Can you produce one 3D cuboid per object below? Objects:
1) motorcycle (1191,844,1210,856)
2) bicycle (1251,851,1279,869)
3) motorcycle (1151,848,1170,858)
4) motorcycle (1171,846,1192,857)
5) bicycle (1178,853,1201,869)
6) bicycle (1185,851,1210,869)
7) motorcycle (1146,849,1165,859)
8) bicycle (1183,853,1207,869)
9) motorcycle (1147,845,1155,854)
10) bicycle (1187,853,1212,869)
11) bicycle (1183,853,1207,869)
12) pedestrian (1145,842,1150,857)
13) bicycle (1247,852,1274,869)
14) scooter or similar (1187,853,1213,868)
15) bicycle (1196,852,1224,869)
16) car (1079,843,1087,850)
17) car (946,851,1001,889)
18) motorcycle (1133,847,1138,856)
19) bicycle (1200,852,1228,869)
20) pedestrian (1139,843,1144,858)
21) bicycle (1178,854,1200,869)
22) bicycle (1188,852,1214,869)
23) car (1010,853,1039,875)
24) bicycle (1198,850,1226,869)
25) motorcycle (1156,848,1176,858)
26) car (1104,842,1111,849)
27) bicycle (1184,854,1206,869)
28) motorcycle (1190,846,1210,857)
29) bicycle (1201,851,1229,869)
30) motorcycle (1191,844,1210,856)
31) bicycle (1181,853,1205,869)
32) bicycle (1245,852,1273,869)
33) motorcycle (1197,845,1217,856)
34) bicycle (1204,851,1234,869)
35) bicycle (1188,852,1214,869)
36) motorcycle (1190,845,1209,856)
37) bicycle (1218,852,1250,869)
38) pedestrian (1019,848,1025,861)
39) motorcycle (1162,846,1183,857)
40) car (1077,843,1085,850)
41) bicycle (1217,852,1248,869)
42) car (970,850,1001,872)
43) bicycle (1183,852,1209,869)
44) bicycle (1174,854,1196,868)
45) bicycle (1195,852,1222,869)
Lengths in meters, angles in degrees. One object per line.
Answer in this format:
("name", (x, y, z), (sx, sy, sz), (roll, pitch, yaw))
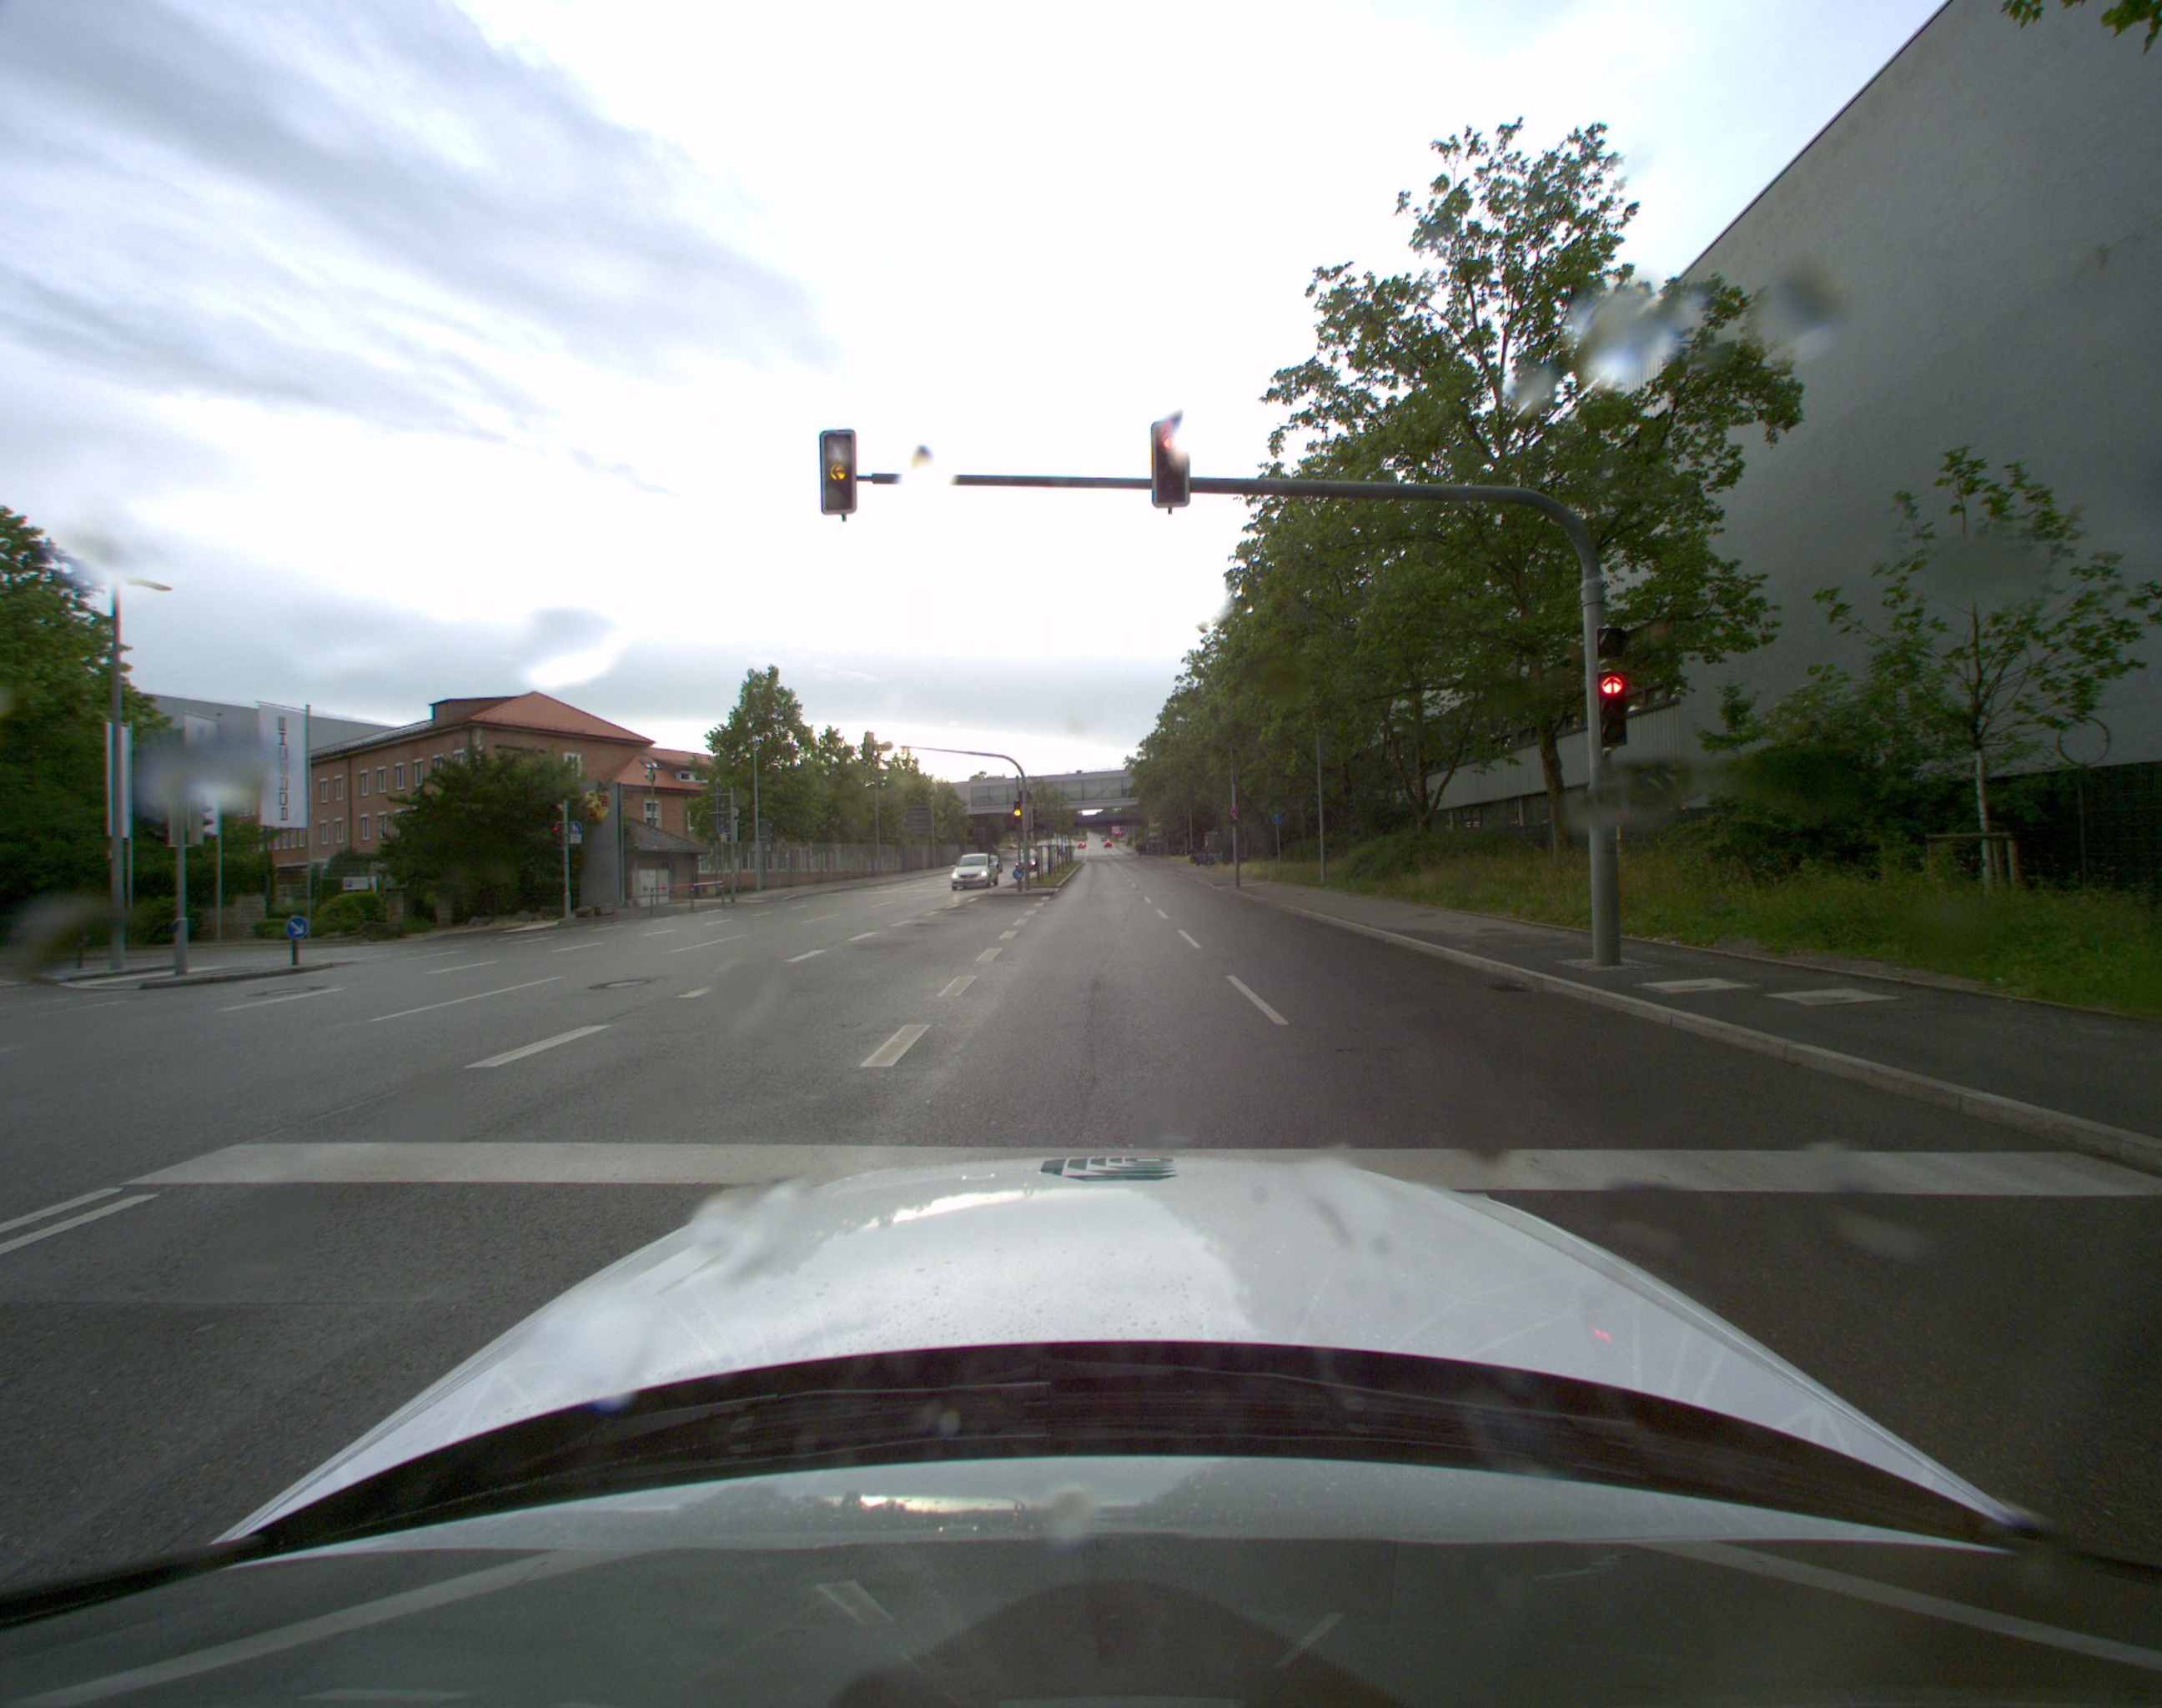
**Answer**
("motorcycle", (15.716, -0.483, 106.870), (2.354, 1.476, 0.724), (-3, 0, 9))
("bicycle", (13.487, 0.457, 59.685), (1.982, 1.328, 0.576), (0, -1, 2))
("motorcycle", (10.521, -0.092, 107.989), (2.354, 1.202, 0.795), (-3, 0, 9))
("motorcycle", (11.979, -0.276, 96.710), (2.354, 1.202, 0.724), (-3, 0, 9))
("bicycle", (9.698, 0.624, 72.587), (1.955, 1.328, 0.654), (0, -1, 2))
("bicycle", (9.623, 0.490, 67.493), (1.982, 1.430, 0.723), (0, -1, 2))
("motorcycle", (9.725, -0.046, 105.776), (2.354, 1.202, 0.724), (-3, 0, 9))
("bicycle", (9.828, 0.588, 70.291), (1.953, 1.328, 0.576), (0, -1, 2))
("motorcycle", (10.479, -0.634, 121.866), (0.789, 1.311, 2.371), (-3, 0, -7))
("bicycle", (9.951, 0.557, 68.339), (1.982, 1.328, 0.576), (0, -1, 2))
("bicycle", (9.648, 0.579, 69.057), (1.982, 1.328, 0.576), (0, -1, 2))
("pedestrian", (9.047, -0.551, 110.813), (0.619, 2.013, 0.606), (-3, 0, 2))
("bicycle", (13.748, 0.503, 62.438), (1.982, 1.328, 0.576), (0, -1, 2))
("scooter or similar", (9.296, 0.493, 63.751), (1.982, 1.138, 0.541), (0, -1, 2))
("bicycle", (9.618, 0.477, 60.773), (1.982, 1.242, 0.541), (0, -1, 2))
("car", (0.520, -1.997, 211.639), (1.877, 1.762, 3.970), (0, -1, 2))
("car", (-5.006, 0.695, 38.397), (1.870, 1.624, 3.780), (-2, 0, 2))
("motorcycle", (9.654, -0.509, 144.384), (0.787, 1.533, 2.376), (-3, 0, 0))
("bicycle", (9.672, 0.452, 59.213), (1.982, 1.242, 0.541), (0, -1, 2))
("pedestrian", (8.250, -0.425, 110.956), (0.619, 2.013, 0.606), (-3, 0, 2))
("bicycle", (9.882, 0.653, 74.302), (1.955, 1.328, 0.654), (0, -1, 2))
("bicycle", (9.293, 0.512, 63.105), (1.982, 1.242, 0.541), (0, -1, 2))
("car", (-4.511, 0.809, 65.881), (1.870, 1.624, 3.780), (-2, 0, 2))
("bicycle", (9.691, 0.400, 60.080), (1.982, 1.340, 0.541), (0, -1, 2))
("motorcycle", (10.609, -0.119, 101.485), (2.354, 1.202, 0.724), (-3, 0, 9))
("car", (6.644, -2.053, 203.055), (1.868, 1.497, 4.070), (0, -1, 2))
("bicycle", (10.622, 0.682, 75.788), (1.955, 1.328, 0.654), (0, -1, 2))
("motorcycle", (14.624, -0.326, 100.027), (2.354, 1.202, 0.724), (-3, 0, 9))
("bicycle", (9.644, 0.442, 58.625), (1.982, 1.242, 0.541), (0, -1, 2))
("motorcycle", (15.861, -0.506, 108.103), (2.354, 1.476, 0.724), (-3, 0, 9))
("bicycle", (9.764, 0.599, 70.983), (1.955, 1.328, 0.654), (0, -1, 2))
("bicycle", (13.783, 0.514, 63.085), (1.982, 1.328, 0.576), (0, -1, 2))
("motorcycle", (15.251, -0.380, 98.854), (2.354, 1.202, 0.724), (-3, 0, 9))
("bicycle", (9.473, 0.408, 55.815), (1.982, 1.216, 0.541), (0, -1, 2))
("bicycle", (9.594, 0.513, 65.005), (1.982, 1.328, 0.576), (0, -1, 2))
("motorcycle", (14.678, -0.424, 100.921), (2.354, 1.202, 0.724), (-3, 0, 9))
("bicycle", (10.086, 0.441, 53.771), (1.982, 1.095, 0.541), (0, -1, 2))
("pedestrian", (-9.787, 0.109, 135.348), (0.870, 2.004, 0.854), (-3, 0, -2))
("motorcycle", (10.727, -0.270, 95.264), (2.354, 1.202, 0.724), (-3, 0, 9))
("car", (-0.033, -1.846, 207.013), (1.986, 1.762, 4.002), (0, -1, 2))
("bicycle", (10.106, 0.450, 54.339), (1.982, 1.095, 0.541), (0, -1, 2))
("car", (-7.532, 0.558, 64.524), (1.870, 1.624, 3.780), (-2, 0, 2))
("bicycle", (9.298, 0.524, 65.822), (1.982, 1.328, 0.576), (0, -1, 2))
("bicycle", (9.397, 0.637, 73.509), (1.955, 1.328, 0.654), (0, -1, 2))
("bicycle", (9.645, 0.492, 61.722), (1.982, 1.242, 0.541), (0, -1, 2))
